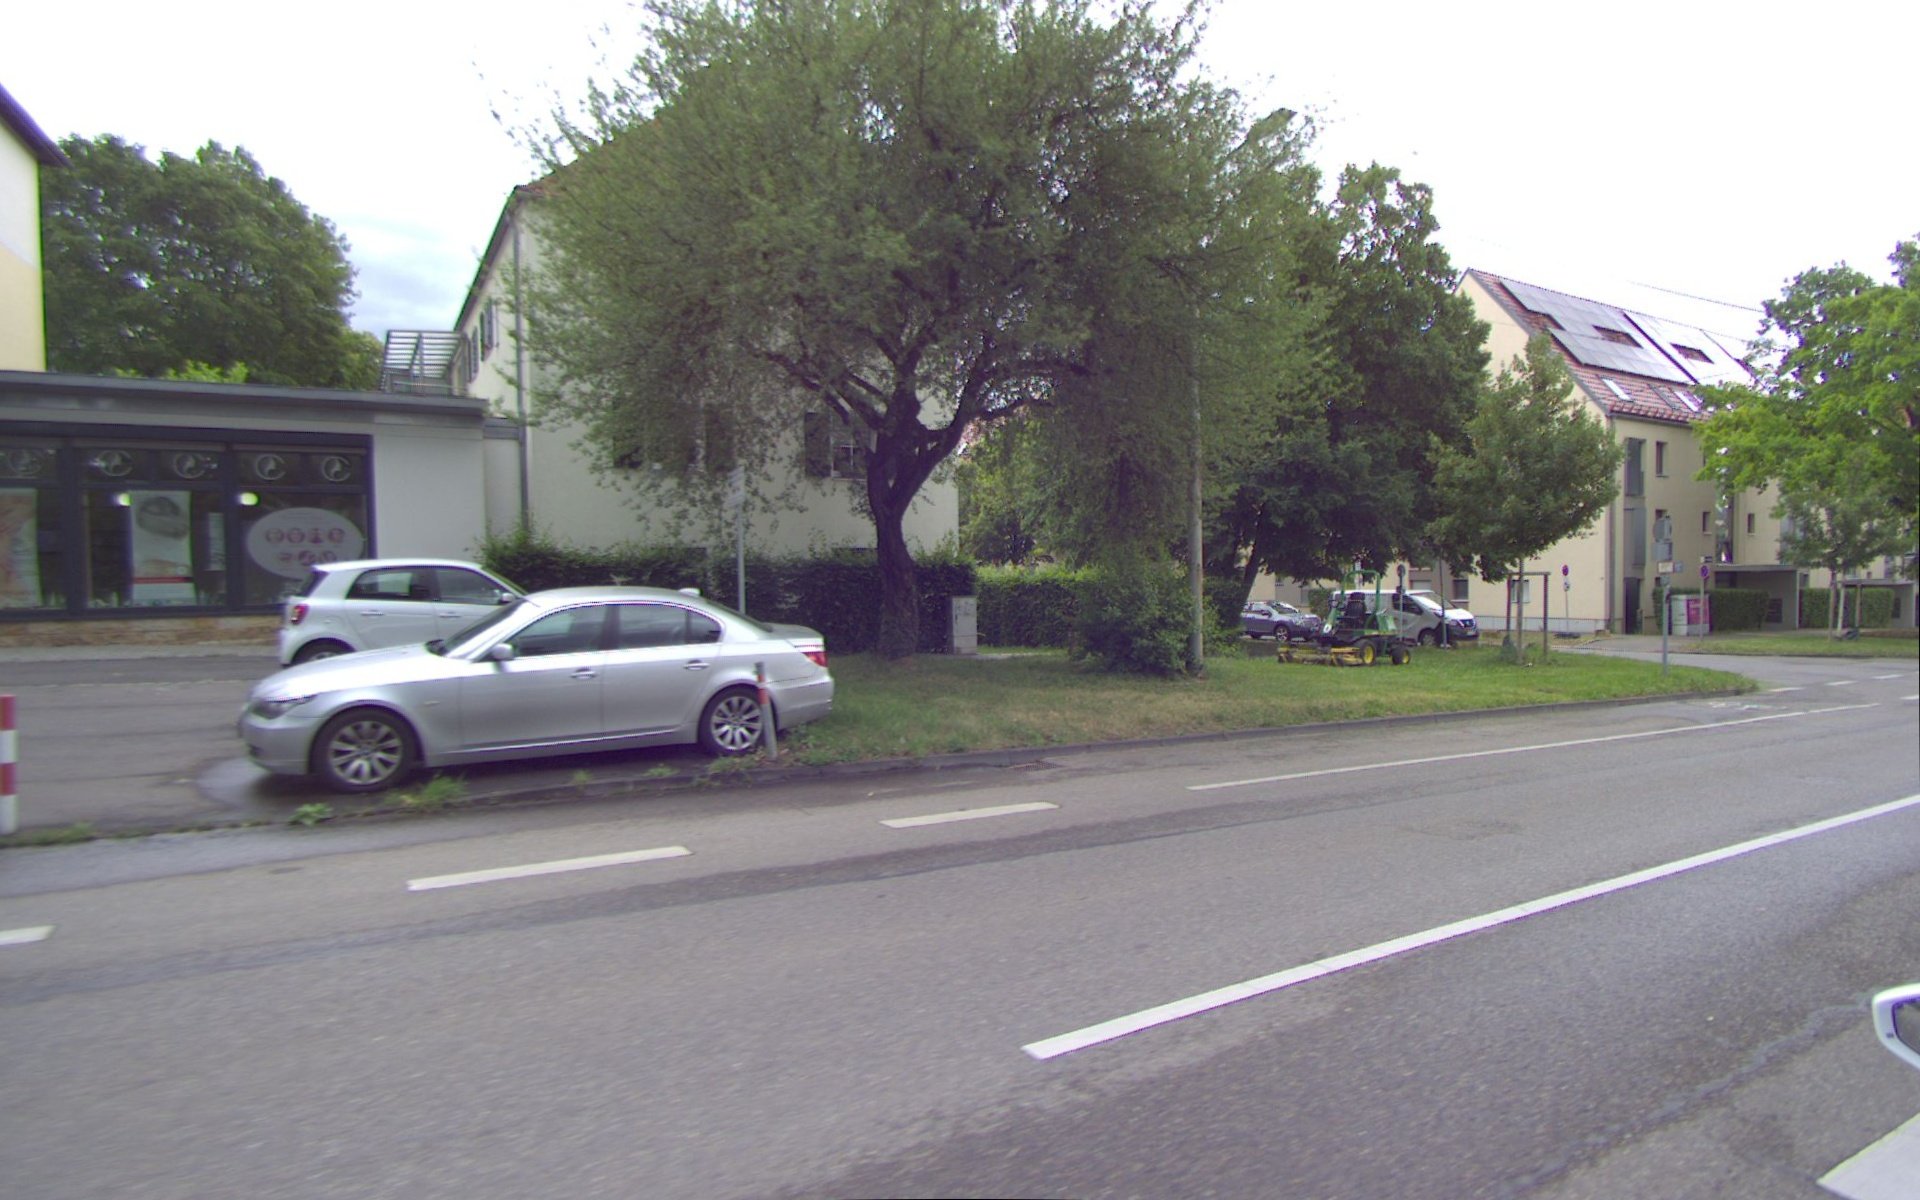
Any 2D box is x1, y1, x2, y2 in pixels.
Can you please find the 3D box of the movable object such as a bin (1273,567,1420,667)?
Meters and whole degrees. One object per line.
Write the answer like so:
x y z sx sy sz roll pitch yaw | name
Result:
7.984 0.330 20.694 2.990 1.929 1.211 1 1 -31 | movable object such as a bin

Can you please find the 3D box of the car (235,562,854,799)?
-3.460 0.581 8.967 4.697 1.655 1.753 1 1 -30 | car

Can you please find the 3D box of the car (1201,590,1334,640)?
12.069 0.540 39.745 1.978 1.785 4.893 1 1 -33 | car

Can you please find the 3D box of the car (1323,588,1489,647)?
15.251 0.541 34.623 1.978 1.837 4.963 1 1 -33 | car

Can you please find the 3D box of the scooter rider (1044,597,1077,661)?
2.083 0.595 20.745 0.553 1.293 0.349 1 1 -31 | scooter rider

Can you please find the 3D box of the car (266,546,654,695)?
-6.331 0.242 13.010 4.239 1.655 1.752 1 1 -31 | car

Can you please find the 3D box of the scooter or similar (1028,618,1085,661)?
1.994 0.808 20.715 1.188 0.854 0.324 1 1 -31 | scooter or similar
